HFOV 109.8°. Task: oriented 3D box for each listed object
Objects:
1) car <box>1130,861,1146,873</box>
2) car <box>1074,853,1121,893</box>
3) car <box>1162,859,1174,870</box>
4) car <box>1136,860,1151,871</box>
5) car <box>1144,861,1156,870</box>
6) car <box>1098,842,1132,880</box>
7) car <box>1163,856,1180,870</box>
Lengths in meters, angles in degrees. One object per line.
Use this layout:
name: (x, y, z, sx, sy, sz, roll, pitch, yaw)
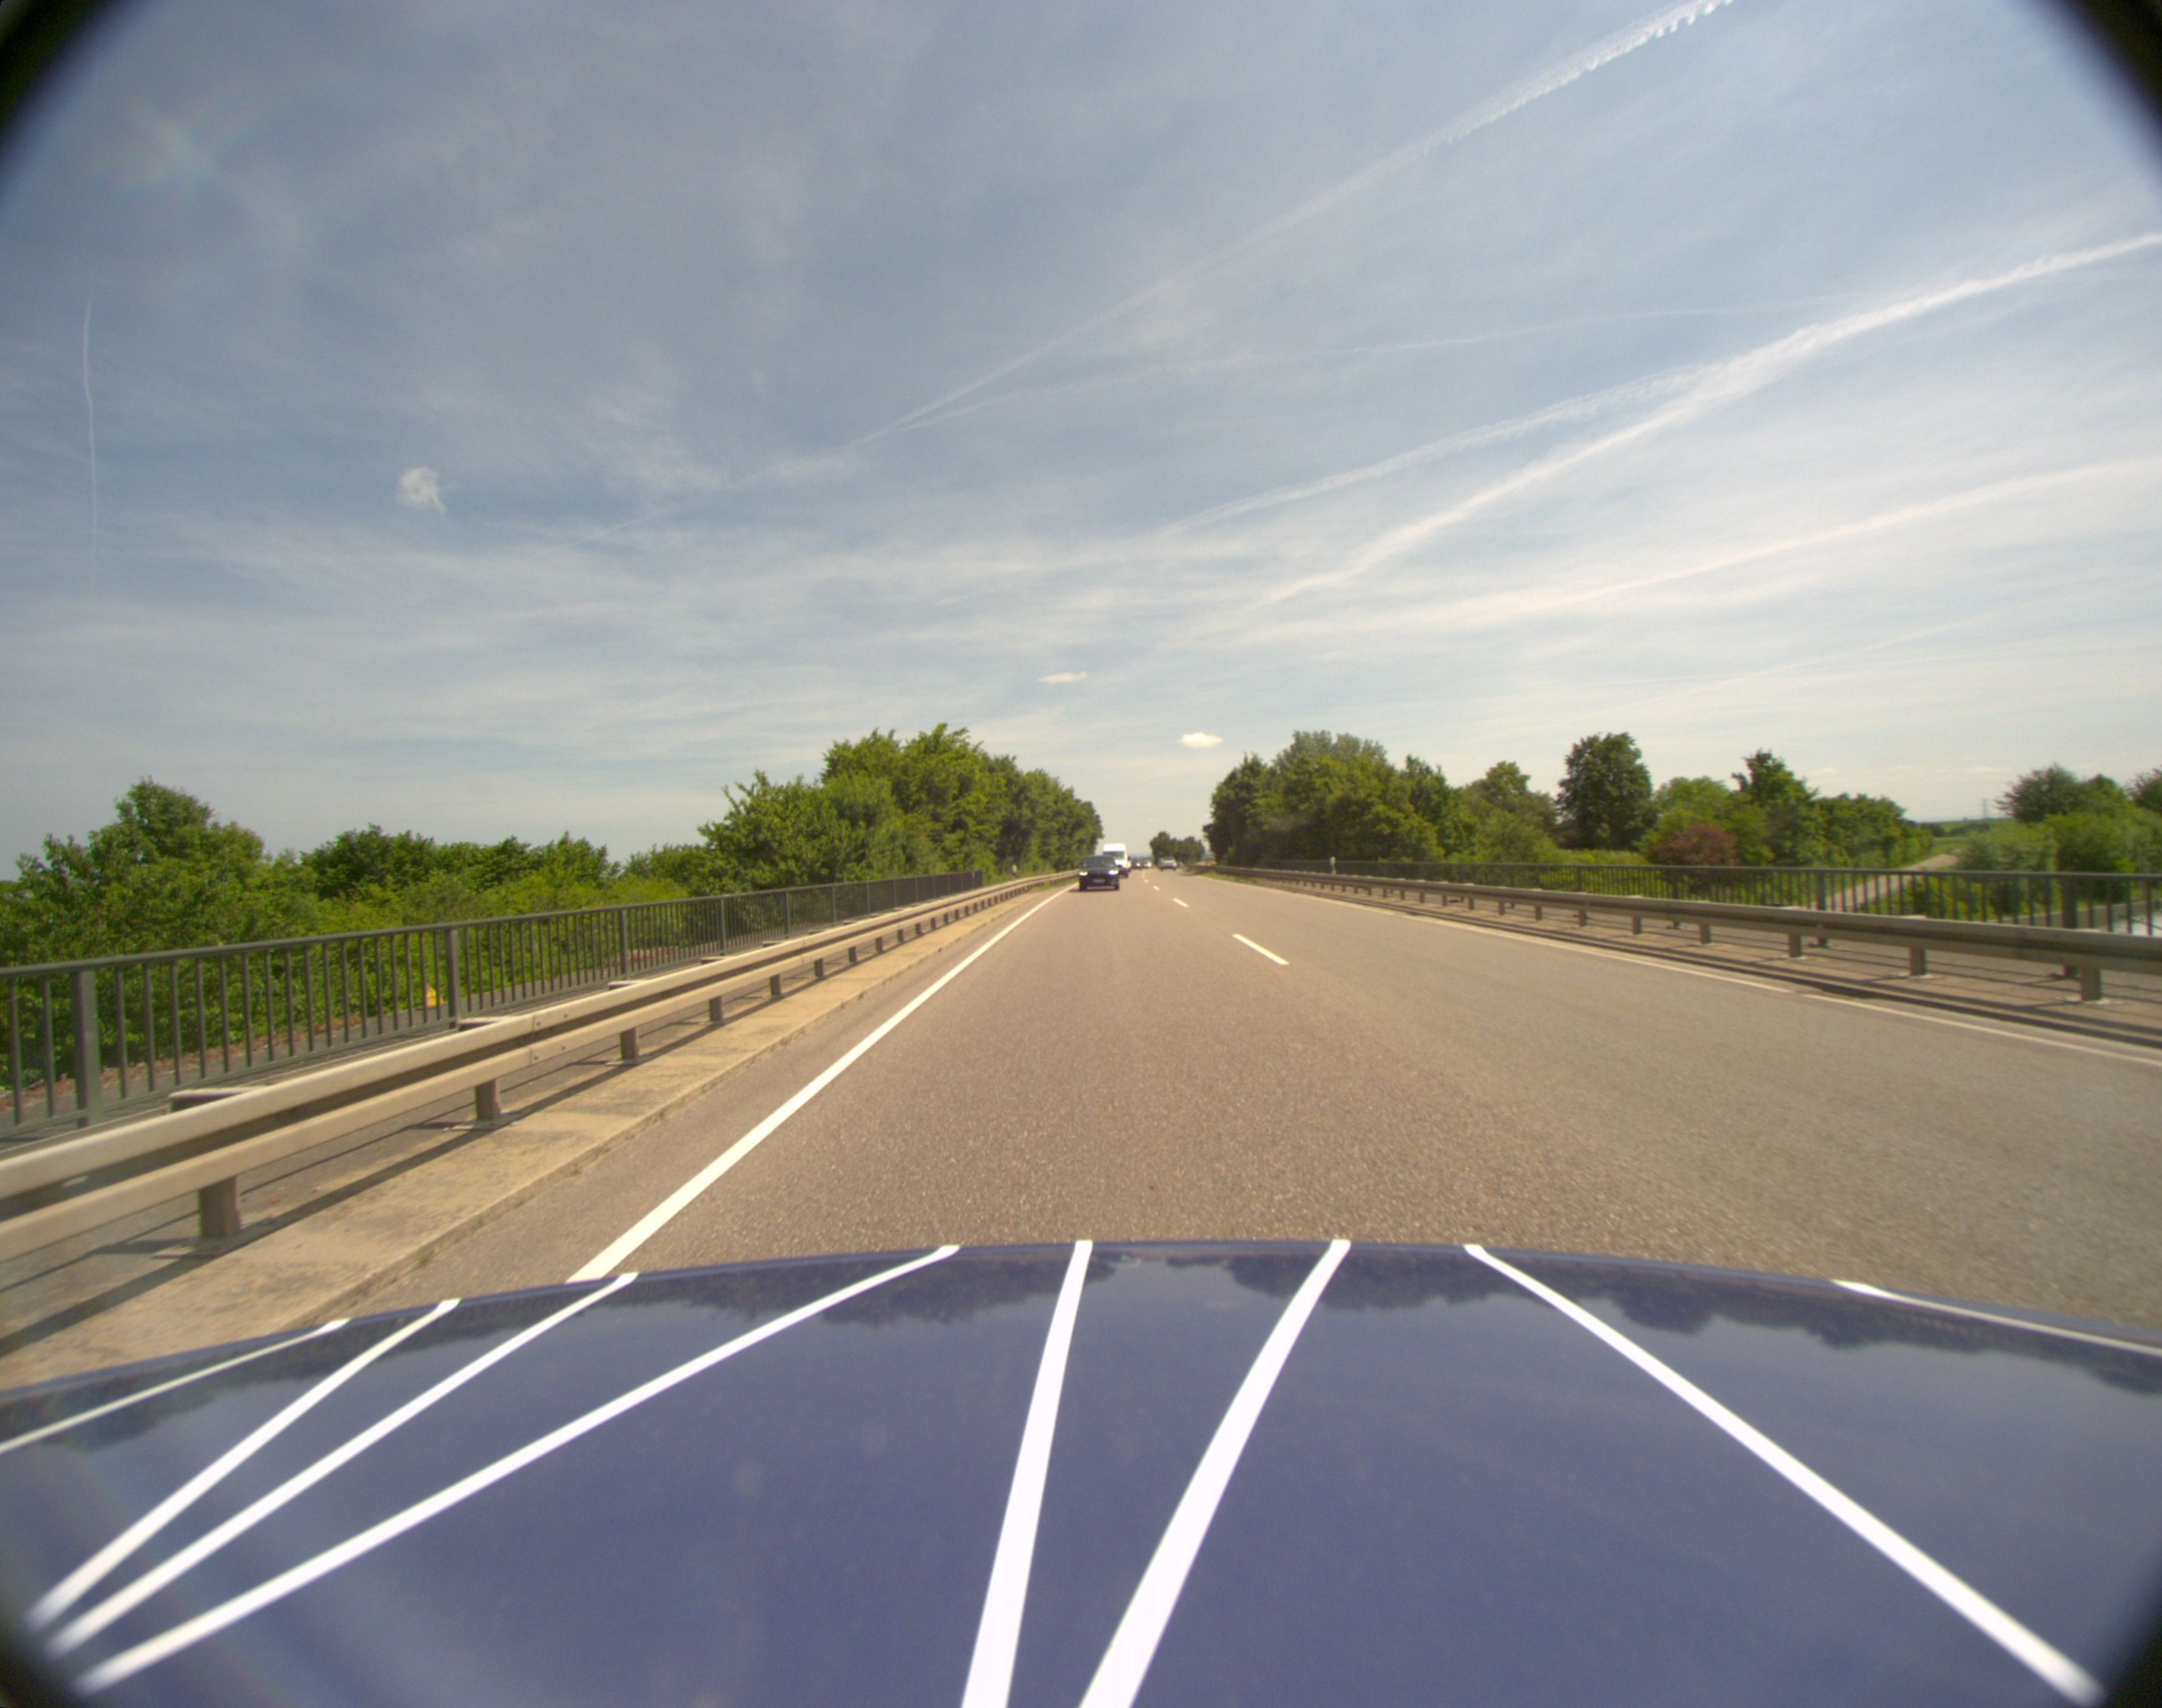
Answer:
car: (8.016, 1.829, 106.319, 2.038, 1.641, 4.747, -1, 0, 7)
car: (0.859, 0.836, 36.574, 2.038, 1.691, 5.513, -1, 0, 3)
car: (12.887, 1.510, 112.729, 1.663, 1.542, 4.340, -1, 0, 7)
car: (10.208, 1.907, 123.329, 2.037, 1.641, 4.748, -1, 0, 9)
car: (12.941, 2.092, 142.536, 2.038, 1.641, 4.747, -1, 0, 9)
car: (2.660, 0.475, 58.583, 2.225, 2.618, 5.753, -2, 2, 6)
car: (10.539, 1.034, 88.681, 1.883, 1.502, 4.545, -1, 0, 5)
